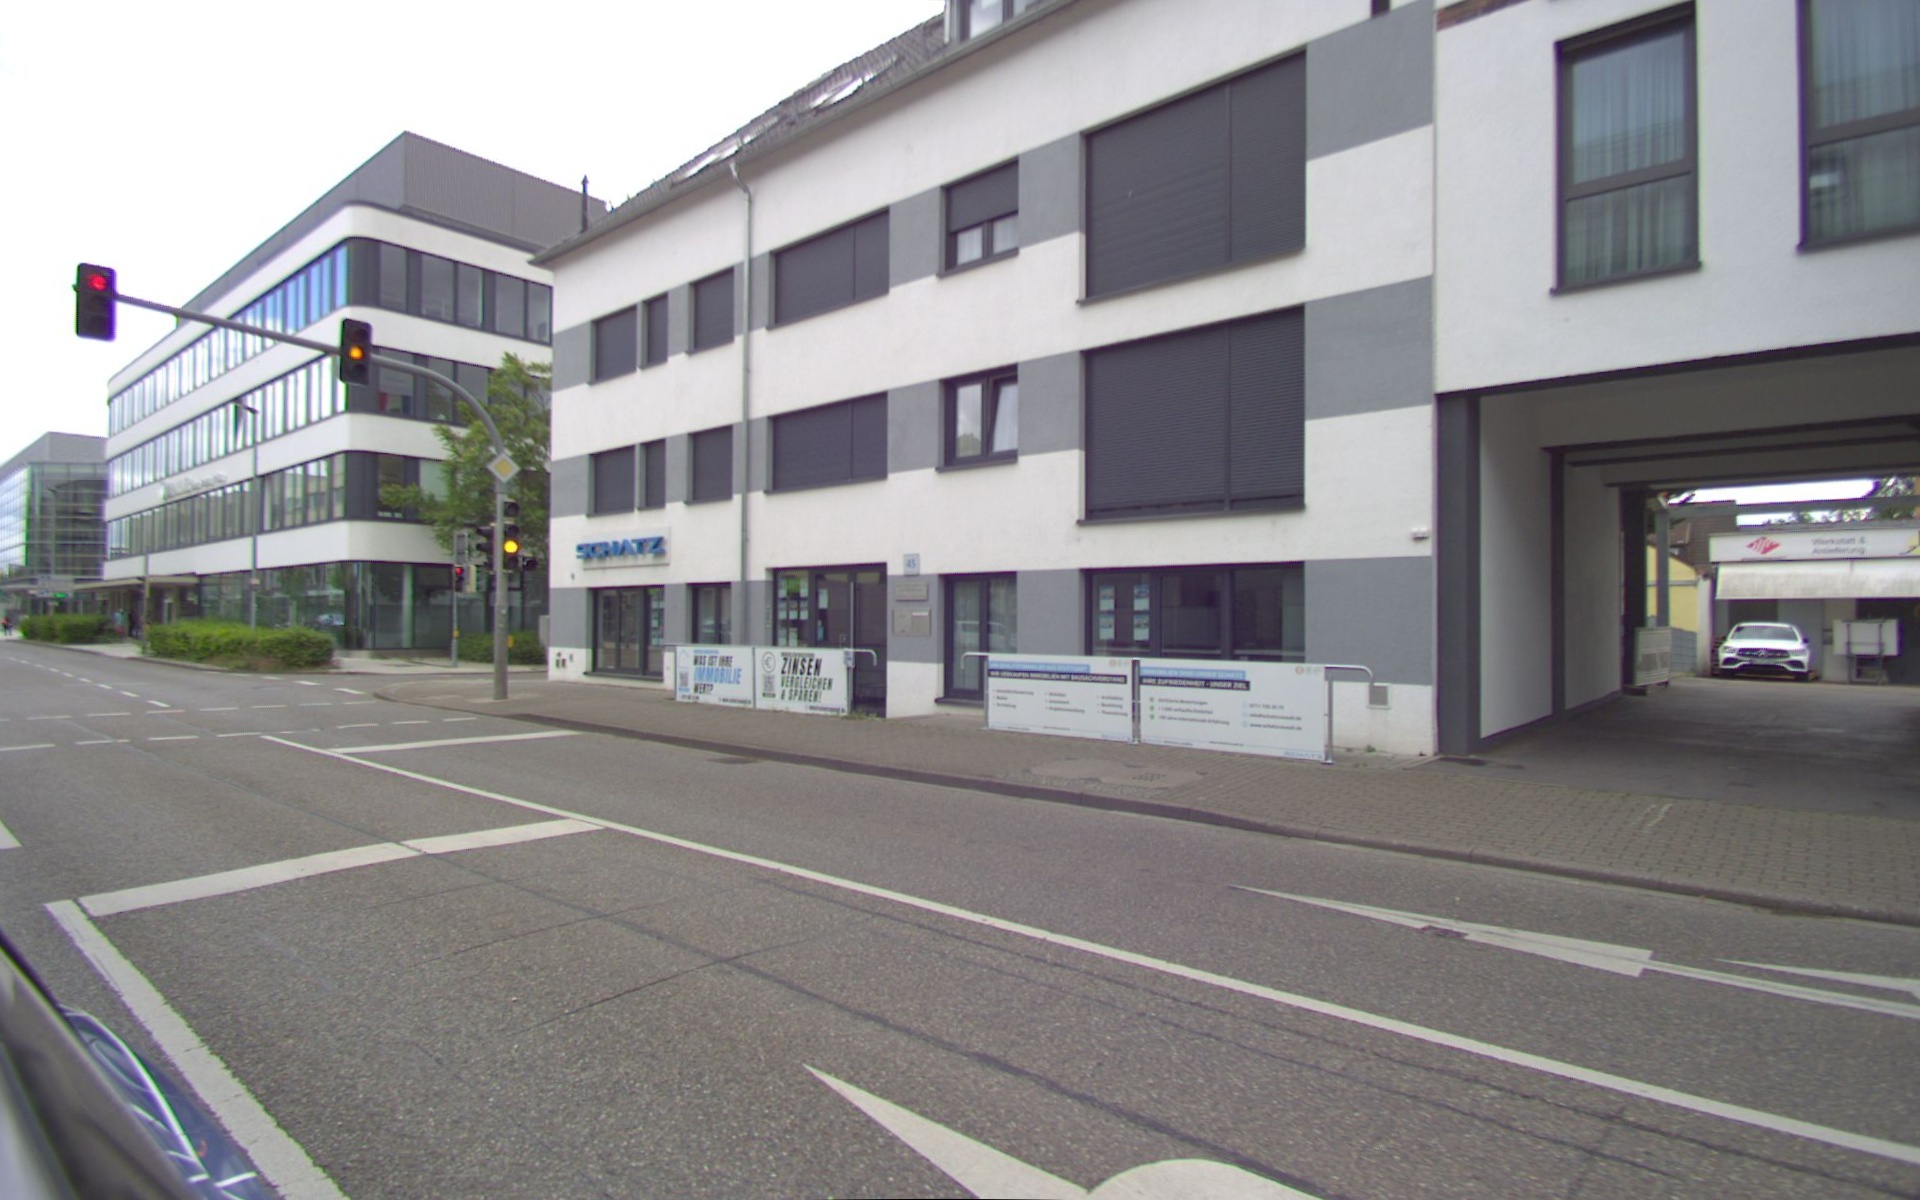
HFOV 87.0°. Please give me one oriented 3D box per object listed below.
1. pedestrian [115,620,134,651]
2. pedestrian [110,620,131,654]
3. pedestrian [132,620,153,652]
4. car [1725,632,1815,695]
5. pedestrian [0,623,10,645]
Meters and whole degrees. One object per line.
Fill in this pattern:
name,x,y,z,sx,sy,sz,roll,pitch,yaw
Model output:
pedestrian,-47.173,2.008,57.123,0.501,1.723,0.613,0,-2,10
pedestrian,-42.997,1.879,51.836,0.931,1.686,0.722,-1,-1,42
pedestrian,-42.025,1.859,52.037,0.931,1.625,0.722,-1,-1,42
car,21.640,1.662,27.154,1.749,1.551,3.950,-1,-3,37
pedestrian,-68.966,2.461,72.874,0.820,1.579,0.813,0,-1,-44
